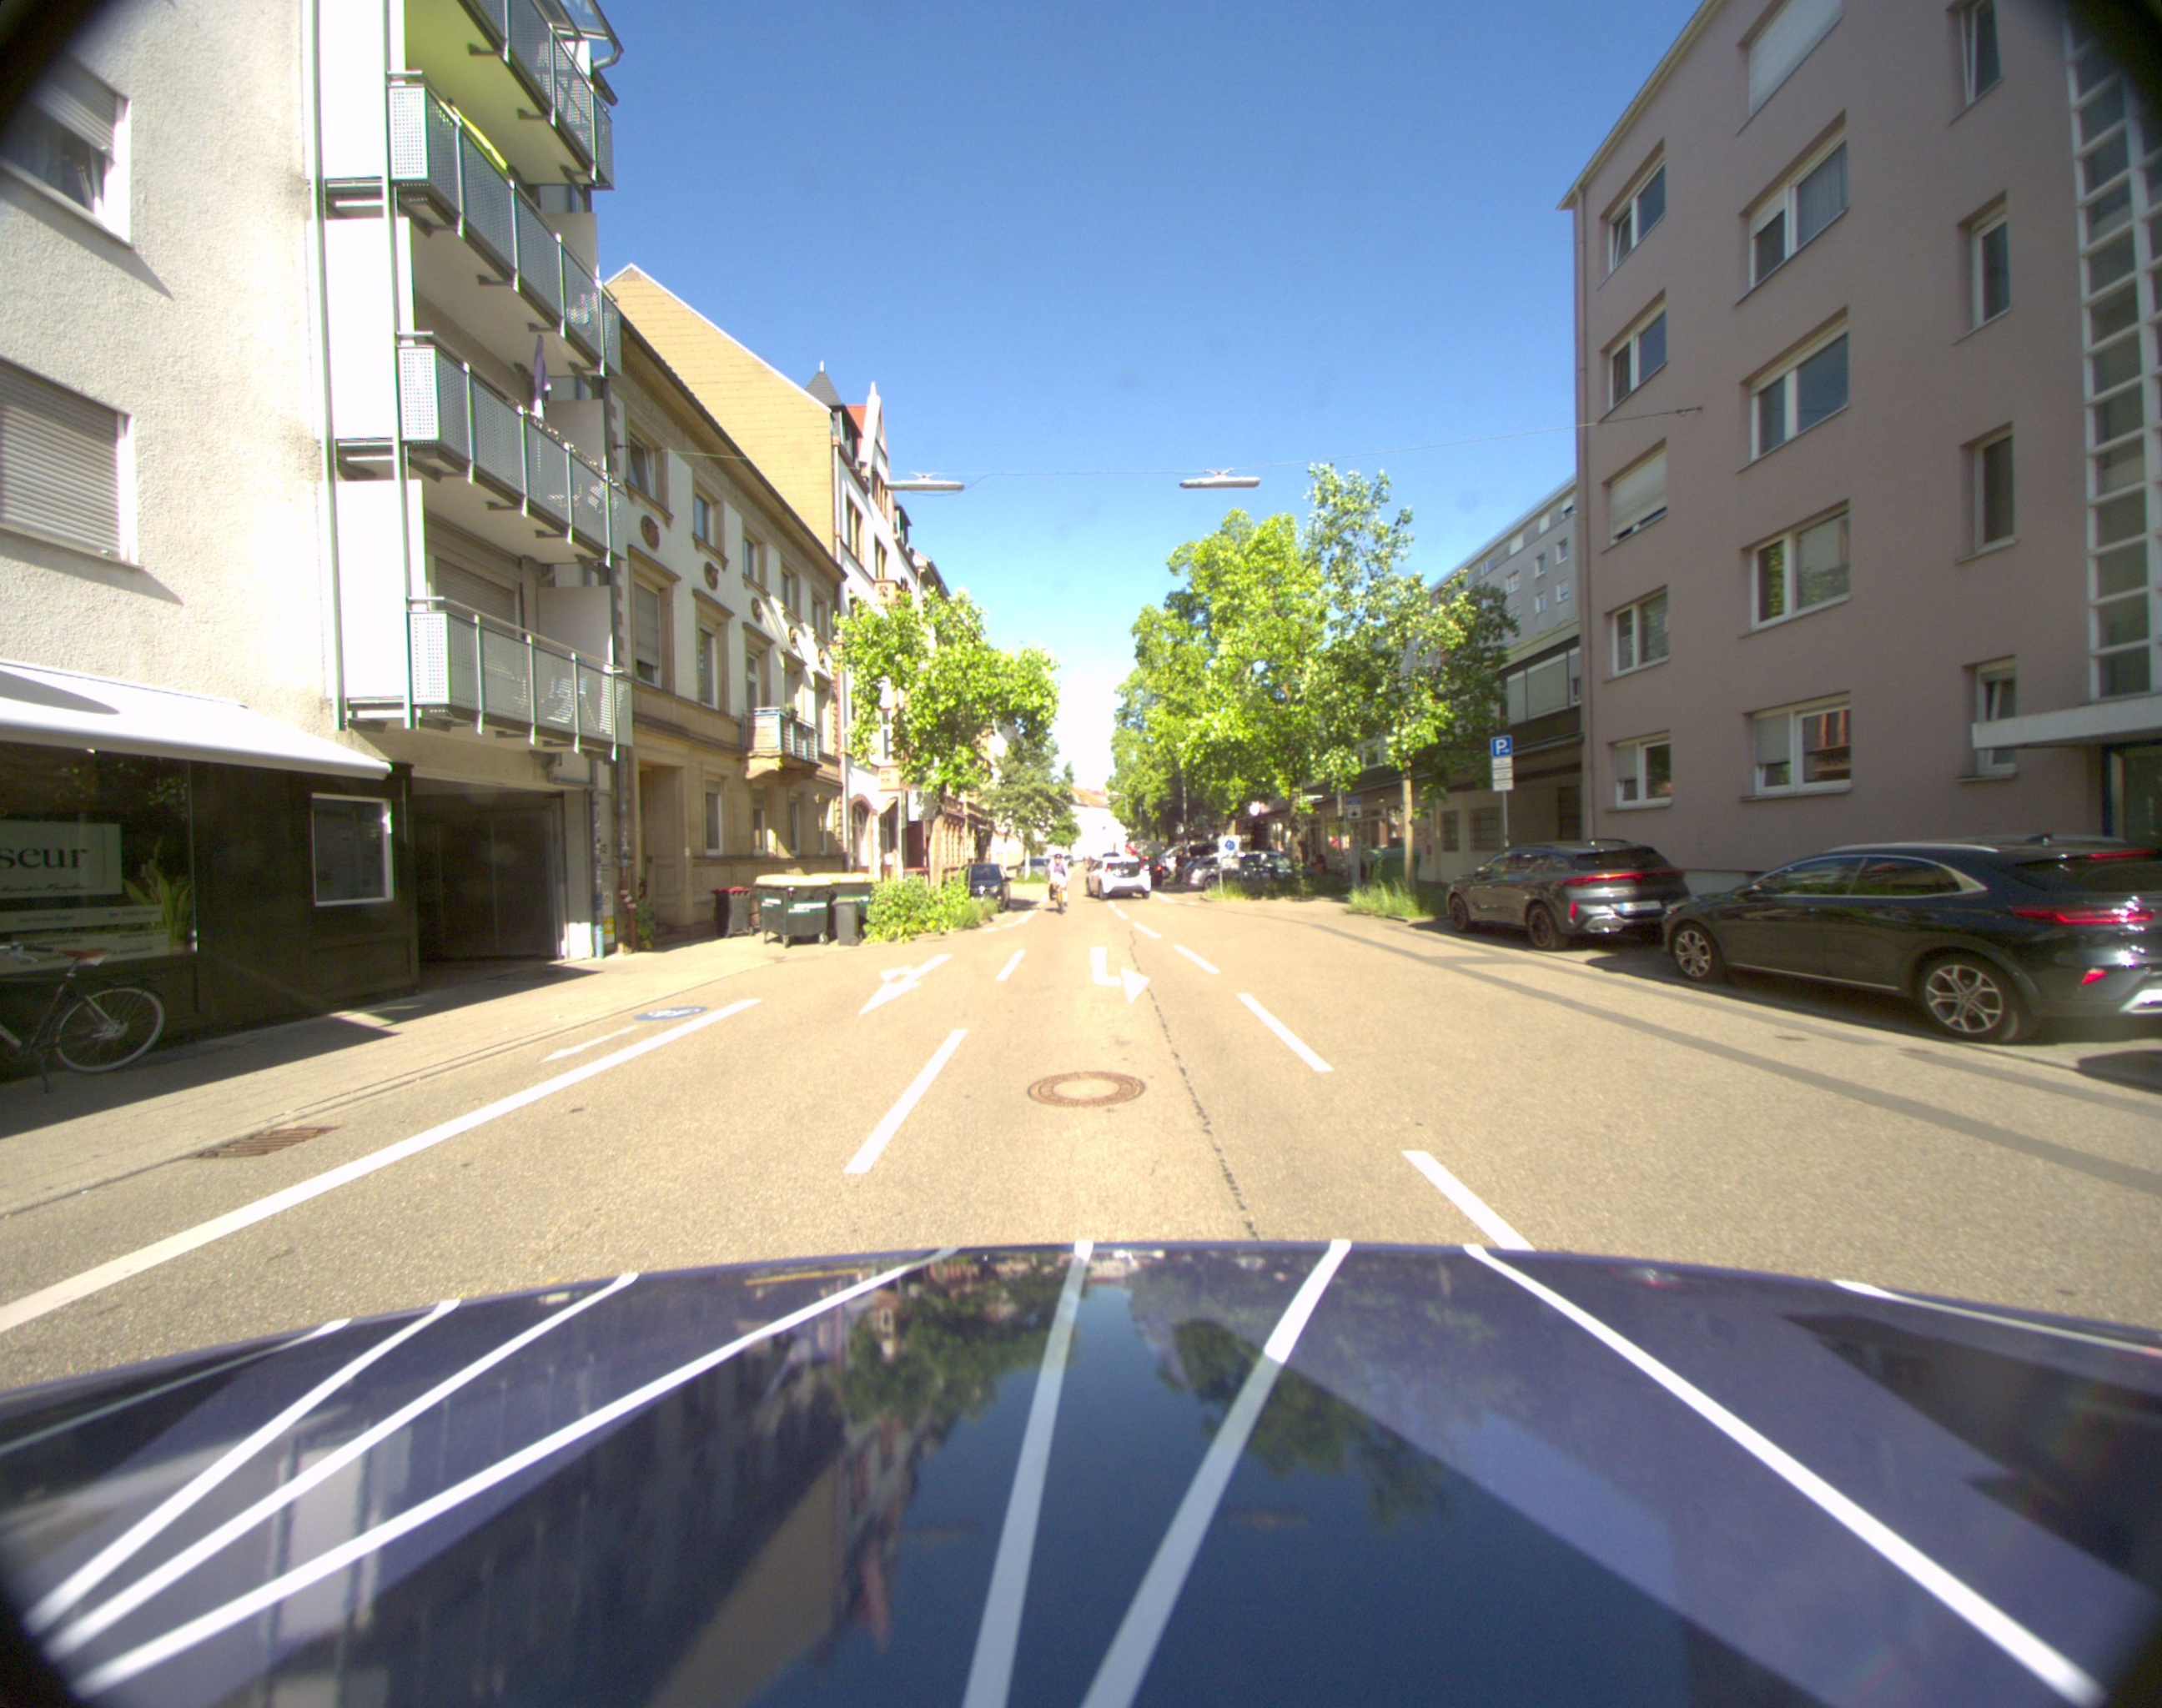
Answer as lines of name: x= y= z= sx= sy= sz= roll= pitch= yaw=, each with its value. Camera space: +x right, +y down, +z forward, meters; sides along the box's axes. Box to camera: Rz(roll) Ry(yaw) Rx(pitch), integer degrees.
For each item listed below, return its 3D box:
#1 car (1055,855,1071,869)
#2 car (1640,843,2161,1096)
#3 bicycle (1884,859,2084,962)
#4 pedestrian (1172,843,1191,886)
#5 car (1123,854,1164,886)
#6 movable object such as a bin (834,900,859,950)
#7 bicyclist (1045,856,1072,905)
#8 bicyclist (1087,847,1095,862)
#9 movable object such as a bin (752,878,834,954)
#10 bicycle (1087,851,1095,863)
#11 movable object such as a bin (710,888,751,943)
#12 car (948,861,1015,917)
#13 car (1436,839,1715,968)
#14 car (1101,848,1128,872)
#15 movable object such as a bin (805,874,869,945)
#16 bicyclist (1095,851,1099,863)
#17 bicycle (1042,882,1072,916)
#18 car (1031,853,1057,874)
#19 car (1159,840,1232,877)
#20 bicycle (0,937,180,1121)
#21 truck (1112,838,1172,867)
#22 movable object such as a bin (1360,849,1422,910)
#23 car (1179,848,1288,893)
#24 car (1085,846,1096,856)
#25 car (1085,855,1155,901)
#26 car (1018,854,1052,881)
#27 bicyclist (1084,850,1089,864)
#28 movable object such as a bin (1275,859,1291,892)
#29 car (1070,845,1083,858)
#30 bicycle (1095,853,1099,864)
car: x=-1.971 y=0.902 z=84.612 sx=1.653 sy=1.447 sz=3.290 roll=-2 pitch=0 yaw=1
car: x=7.510 y=0.712 z=6.882 sx=1.821 sy=1.499 sz=4.245 roll=-4 pitch=0 yaw=2
bicycle: x=10.755 y=0.622 z=9.141 sx=0.391 sy=1.070 sz=1.650 roll=-6 pitch=0 yaw=2
pedestrian: x=4.779 y=0.481 z=36.145 sx=0.564 sy=2.002 sz=0.755 roll=-1 pitch=1 yaw=31
car: x=3.036 y=0.752 z=37.544 sx=1.867 sy=1.455 sz=4.000 roll=-2 pitch=0 yaw=3
movable object such as a bin: x=-4.584 y=1.387 z=14.876 sx=0.401 sy=0.916 sz=0.484 roll=0 pitch=2 yaw=-7
bicyclist: x=-0.631 y=0.736 z=21.452 sx=0.610 sy=1.338 sz=1.017 roll=-2 pitch=0 yaw=-9
bicyclist: x=1.015 y=0.074 z=80.110 sx=0.748 sy=1.588 sz=0.613 roll=-3 pitch=1 yaw=1
movable object such as a bin: x=-5.594 y=1.163 z=14.764 sx=1.212 sy=1.318 sz=1.052 roll=2 pitch=3 yaw=42
bicycle: x=1.025 y=0.289 z=80.091 sx=0.778 sy=1.139 sz=2.259 roll=-3 pitch=1 yaw=1
movable object such as a bin: x=-7.325 y=1.274 z=15.879 sx=0.615 sy=1.075 sz=0.568 roll=2 pitch=3 yaw=42
car: x=-2.975 y=1.017 z=23.352 sx=1.551 sy=1.483 sz=3.351 roll=-2 pitch=0 yaw=0
car: x=7.584 y=0.651 z=12.244 sx=1.821 sy=1.583 sz=4.141 roll=-5 pitch=0 yaw=2
car: x=2.628 y=0.456 z=60.203 sx=1.994 sy=1.599 sz=4.259 roll=-3 pitch=3 yaw=1
movable object such as a bin: x=-5.091 y=1.126 z=15.841 sx=0.960 sy=1.341 sz=1.066 roll=-1 pitch=2 yaw=-38
bicyclist: x=1.901 y=0.330 z=91.146 sx=0.417 sy=1.415 sz=0.324 roll=-2 pitch=1 yaw=1
bicycle: x=-0.701 y=1.248 z=21.588 sx=0.612 sy=0.876 sz=1.813 roll=-1 pitch=-1 yaw=-9
car: x=-2.639 y=0.662 z=55.189 sx=1.653 sy=1.483 sz=3.290 roll=-2 pitch=0 yaw=0
car: x=6.699 y=0.273 z=44.763 sx=3.997 sy=2.020 sz=2.000 roll=-2 pitch=1 yaw=1
bicycle: x=-7.752 y=1.283 z=5.433 sx=0.402 sy=1.171 sz=1.792 roll=-2 pitch=0 yaw=1
truck: x=5.749 y=-0.181 z=71.682 sx=5.322 sy=2.581 sz=1.998 roll=-2 pitch=1 yaw=-9
movable object such as a bin: x=8.128 y=0.642 z=19.980 sx=1.247 sy=1.536 sz=1.019 roll=-2 pitch=1 yaw=5
car: x=6.082 y=0.642 z=30.656 sx=3.997 sy=1.665 sz=2.000 roll=-2 pitch=1 yaw=1
car: x=1.619 y=-0.442 z=127.280 sx=1.826 sy=1.617 sz=4.000 roll=-2 pitch=0 yaw=1
car: x=1.358 y=0.817 z=27.870 sx=1.771 sy=1.528 sz=3.783 roll=-2 pitch=0 yaw=-9
car: x=-2.752 y=0.773 z=45.875 sx=1.759 sy=1.492 sz=3.949 roll=-2 pitch=0 yaw=0
bicyclist: x=0.830 y=0.457 z=111.611 sx=0.578 sy=1.911 sz=0.613 roll=-3 pitch=1 yaw=1
movable object such as a bin: x=7.613 y=0.791 z=28.662 sx=0.488 sy=1.218 sz=0.409 roll=-2 pitch=1 yaw=1
car: x=-0.661 y=-0.451 z=126.573 sx=1.998 sy=2.002 sz=4.000 roll=-2 pitch=0 yaw=1
bicycle: x=1.904 y=0.589 z=91.262 sx=0.422 sy=1.292 sz=1.762 roll=-2 pitch=0 yaw=0
